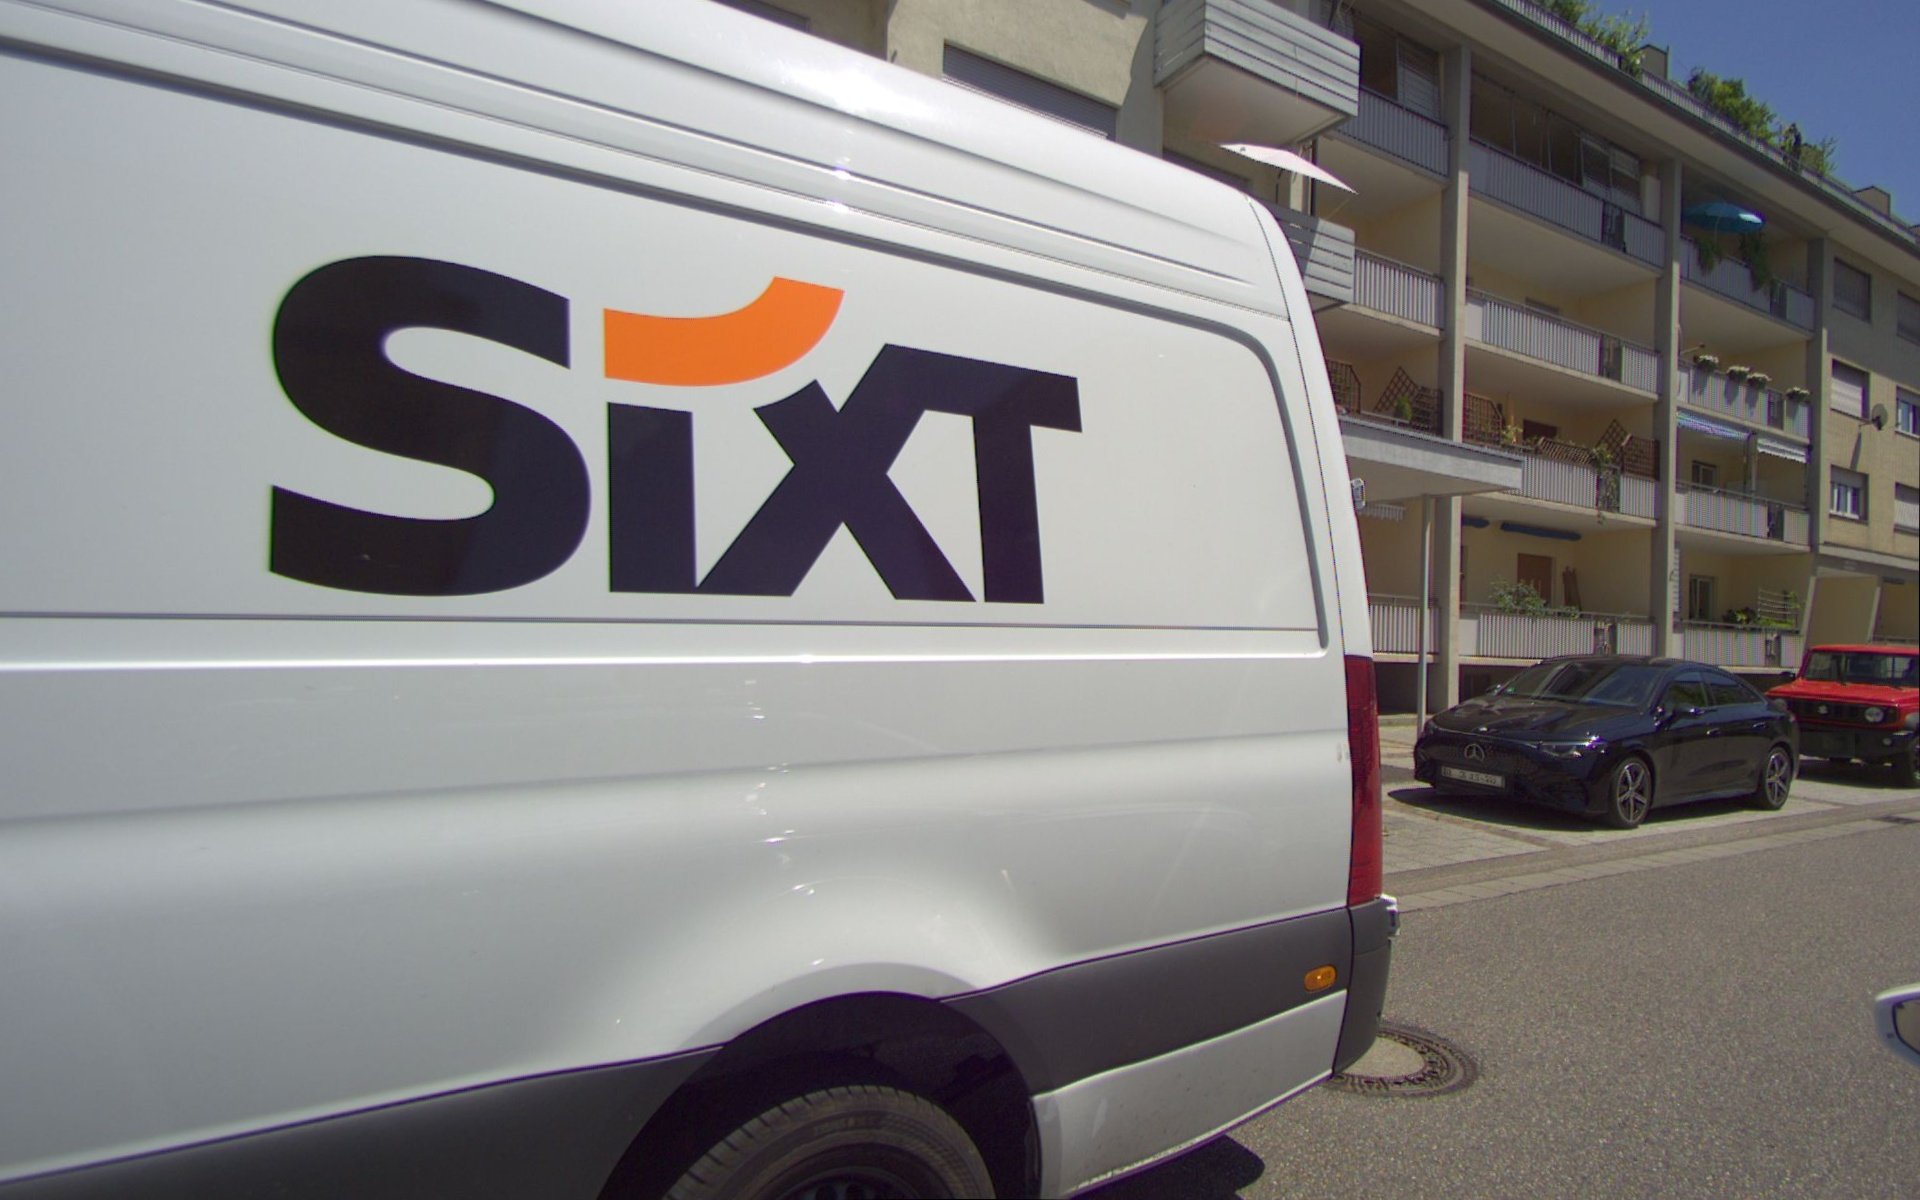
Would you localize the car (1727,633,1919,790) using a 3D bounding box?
[{"bbox_3d":[12.174,1.393,13.327,4.054,1.725,1.744,3,0,-31],"label":"car"}]

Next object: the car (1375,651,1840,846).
[{"bbox_3d":[6.632,1.339,10.126,4.989,1.436,1.887,3,0,-31],"label":"car"}]

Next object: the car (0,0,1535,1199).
[{"bbox_3d":[-2.191,0.126,1.443,7.025,2.664,2.027,3,-4,-31],"label":"car"}]
